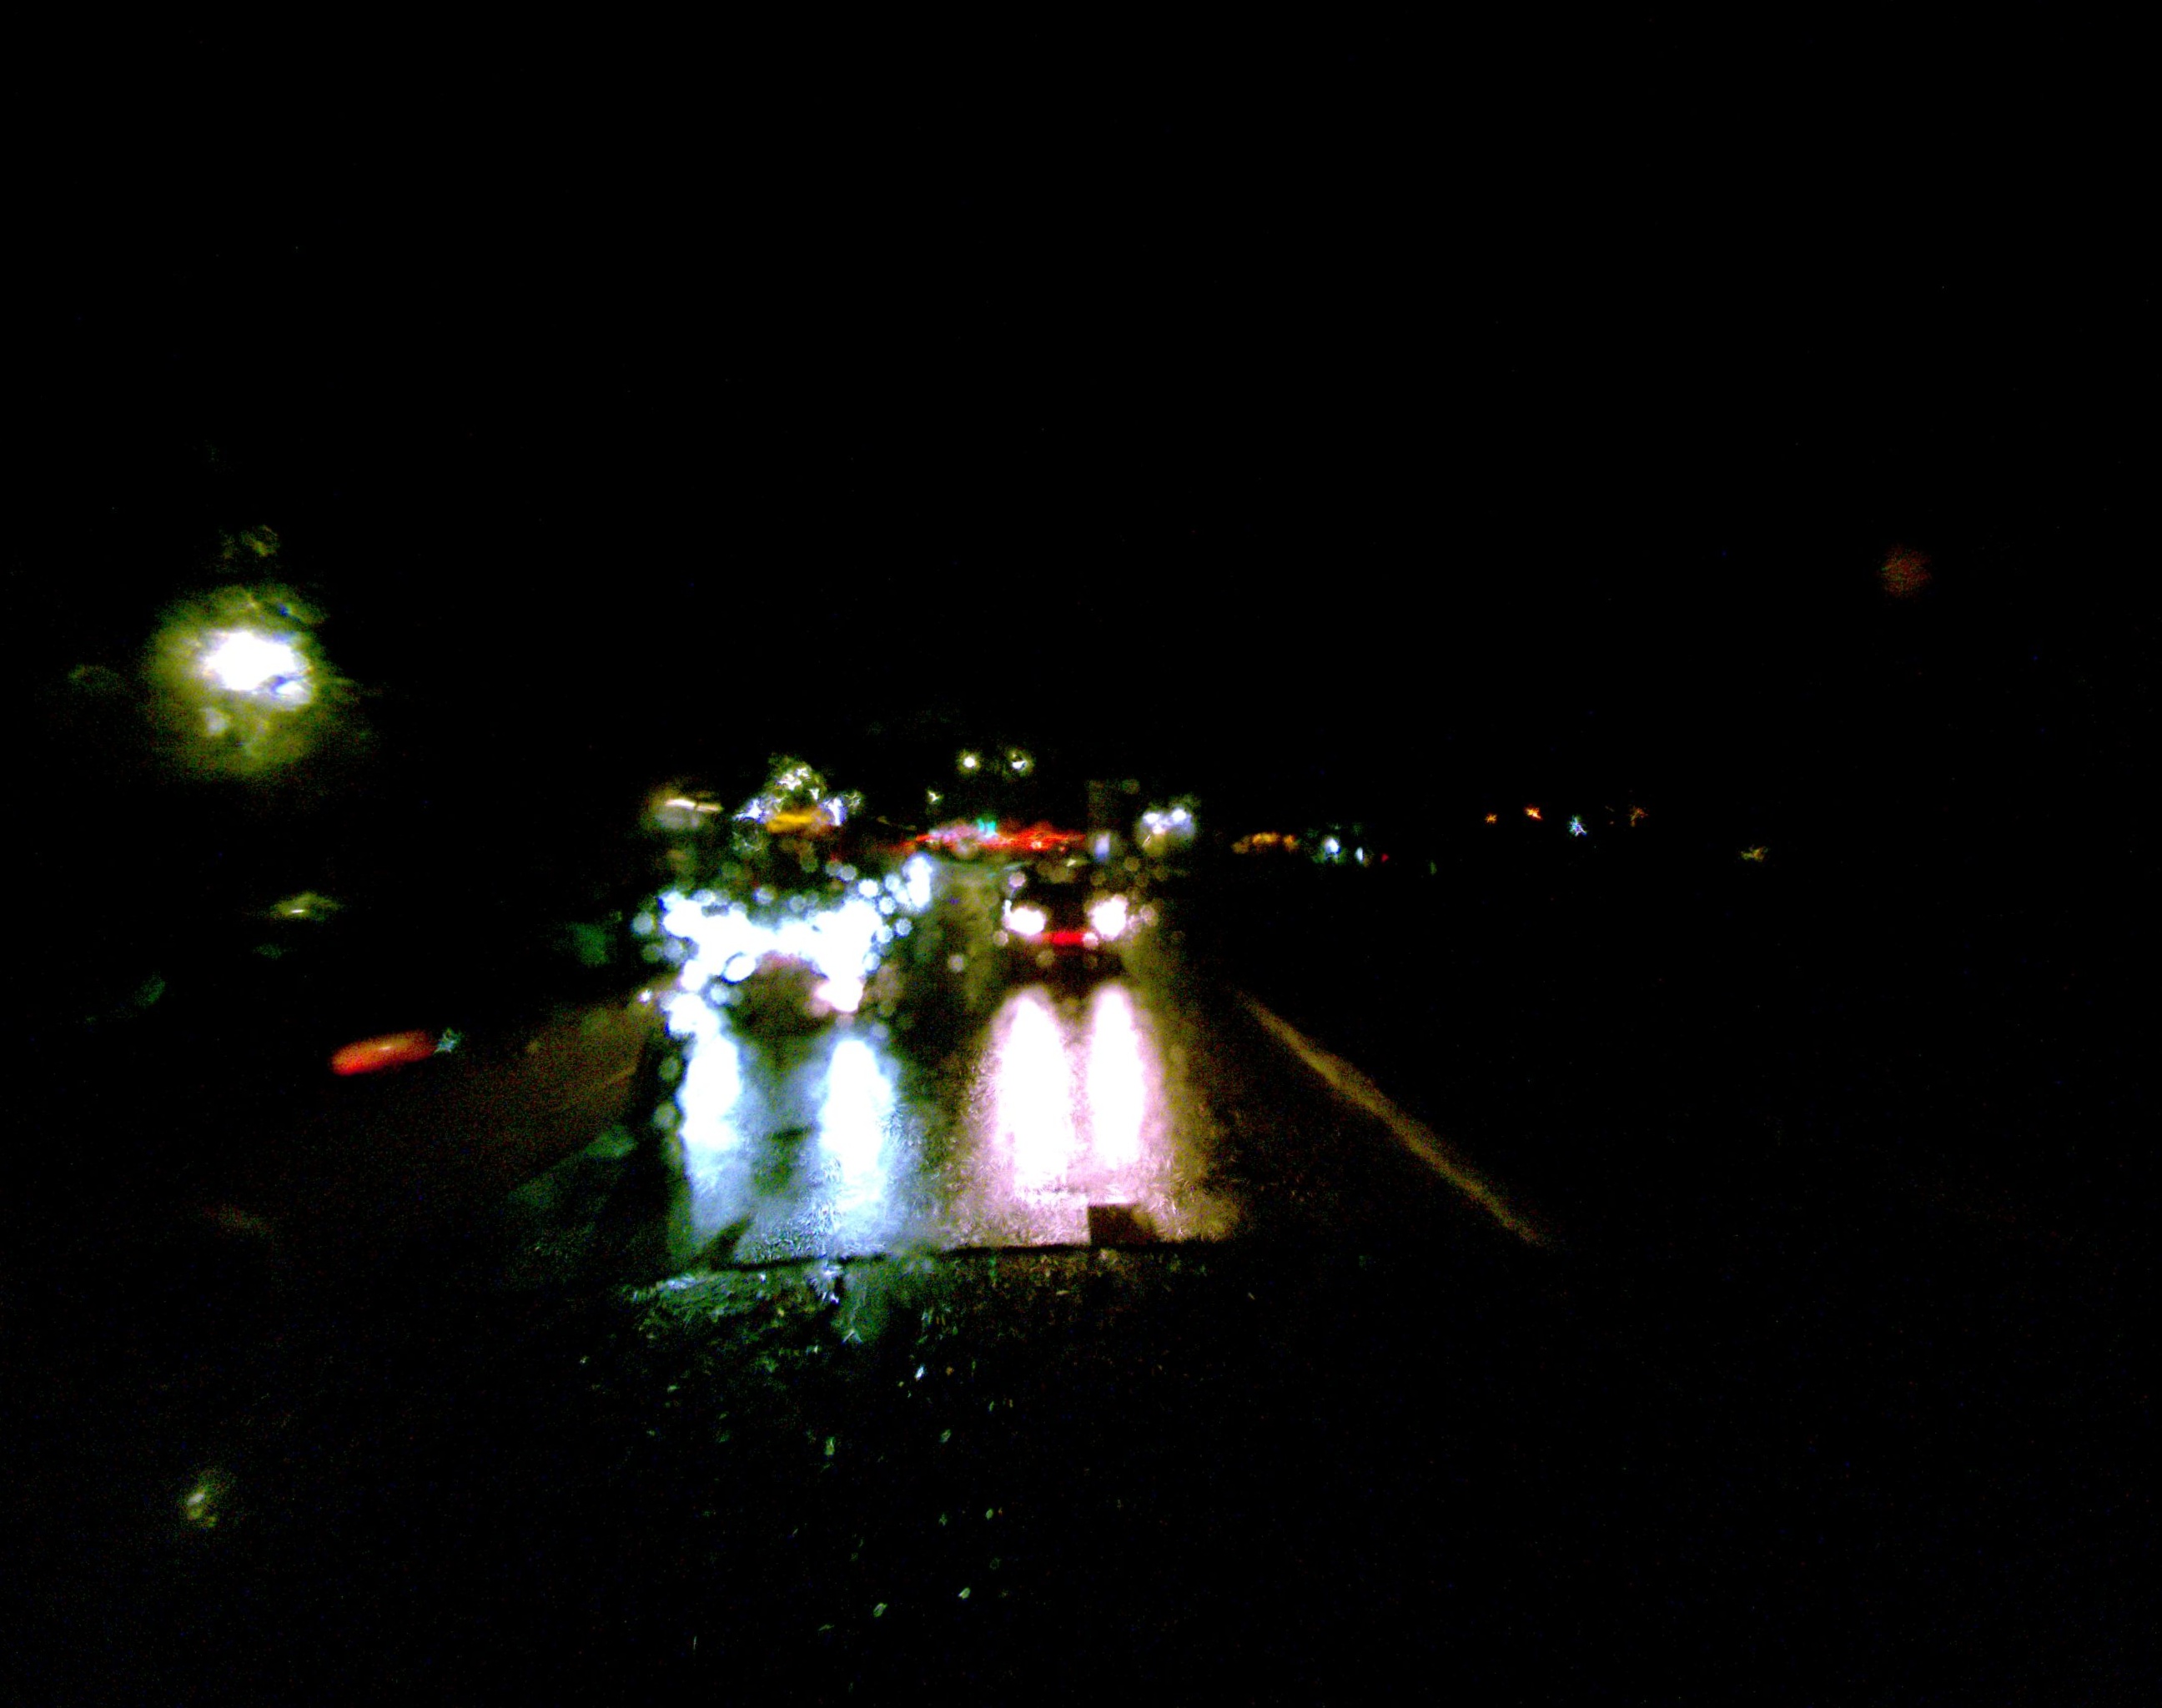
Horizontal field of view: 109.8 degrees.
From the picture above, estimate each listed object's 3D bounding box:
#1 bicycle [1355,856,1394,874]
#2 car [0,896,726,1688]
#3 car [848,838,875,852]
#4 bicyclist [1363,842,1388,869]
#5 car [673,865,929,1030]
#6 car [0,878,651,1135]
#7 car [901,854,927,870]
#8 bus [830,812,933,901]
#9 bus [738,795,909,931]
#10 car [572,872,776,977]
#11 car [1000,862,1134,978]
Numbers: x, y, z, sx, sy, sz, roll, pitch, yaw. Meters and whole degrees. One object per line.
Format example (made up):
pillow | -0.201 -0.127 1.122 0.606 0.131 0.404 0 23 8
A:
bicycle | 15.774 0.594 40.888 0.629 0.899 2.209 -1 1 -23
car | -3.147 1.031 2.783 1.724 1.438 4.161 -1 1 0
car | -23.715 -0.945 81.963 1.712 1.382 3.990 -2 1 -32
bicyclist | 15.802 0.051 40.757 0.630 1.427 1.186 -1 1 -20
car | -3.307 0.997 9.933 1.724 1.478 4.161 -4 1 0
car | -6.426 1.092 7.435 1.724 1.478 4.786 -1 1 0
car | -16.502 0.751 75.087 1.701 1.455 3.965 0 1 -25
bus | -8.330 0.029 33.068 2.742 3.219 9.693 -2 1 -6
bus | -7.361 0.148 23.405 2.742 3.258 9.693 -2 1 -6
car | -7.129 1.136 13.858 1.725 1.478 4.160 0 1 -4
car | -0.200 0.884 11.930 1.755 1.438 3.973 0 1 0
